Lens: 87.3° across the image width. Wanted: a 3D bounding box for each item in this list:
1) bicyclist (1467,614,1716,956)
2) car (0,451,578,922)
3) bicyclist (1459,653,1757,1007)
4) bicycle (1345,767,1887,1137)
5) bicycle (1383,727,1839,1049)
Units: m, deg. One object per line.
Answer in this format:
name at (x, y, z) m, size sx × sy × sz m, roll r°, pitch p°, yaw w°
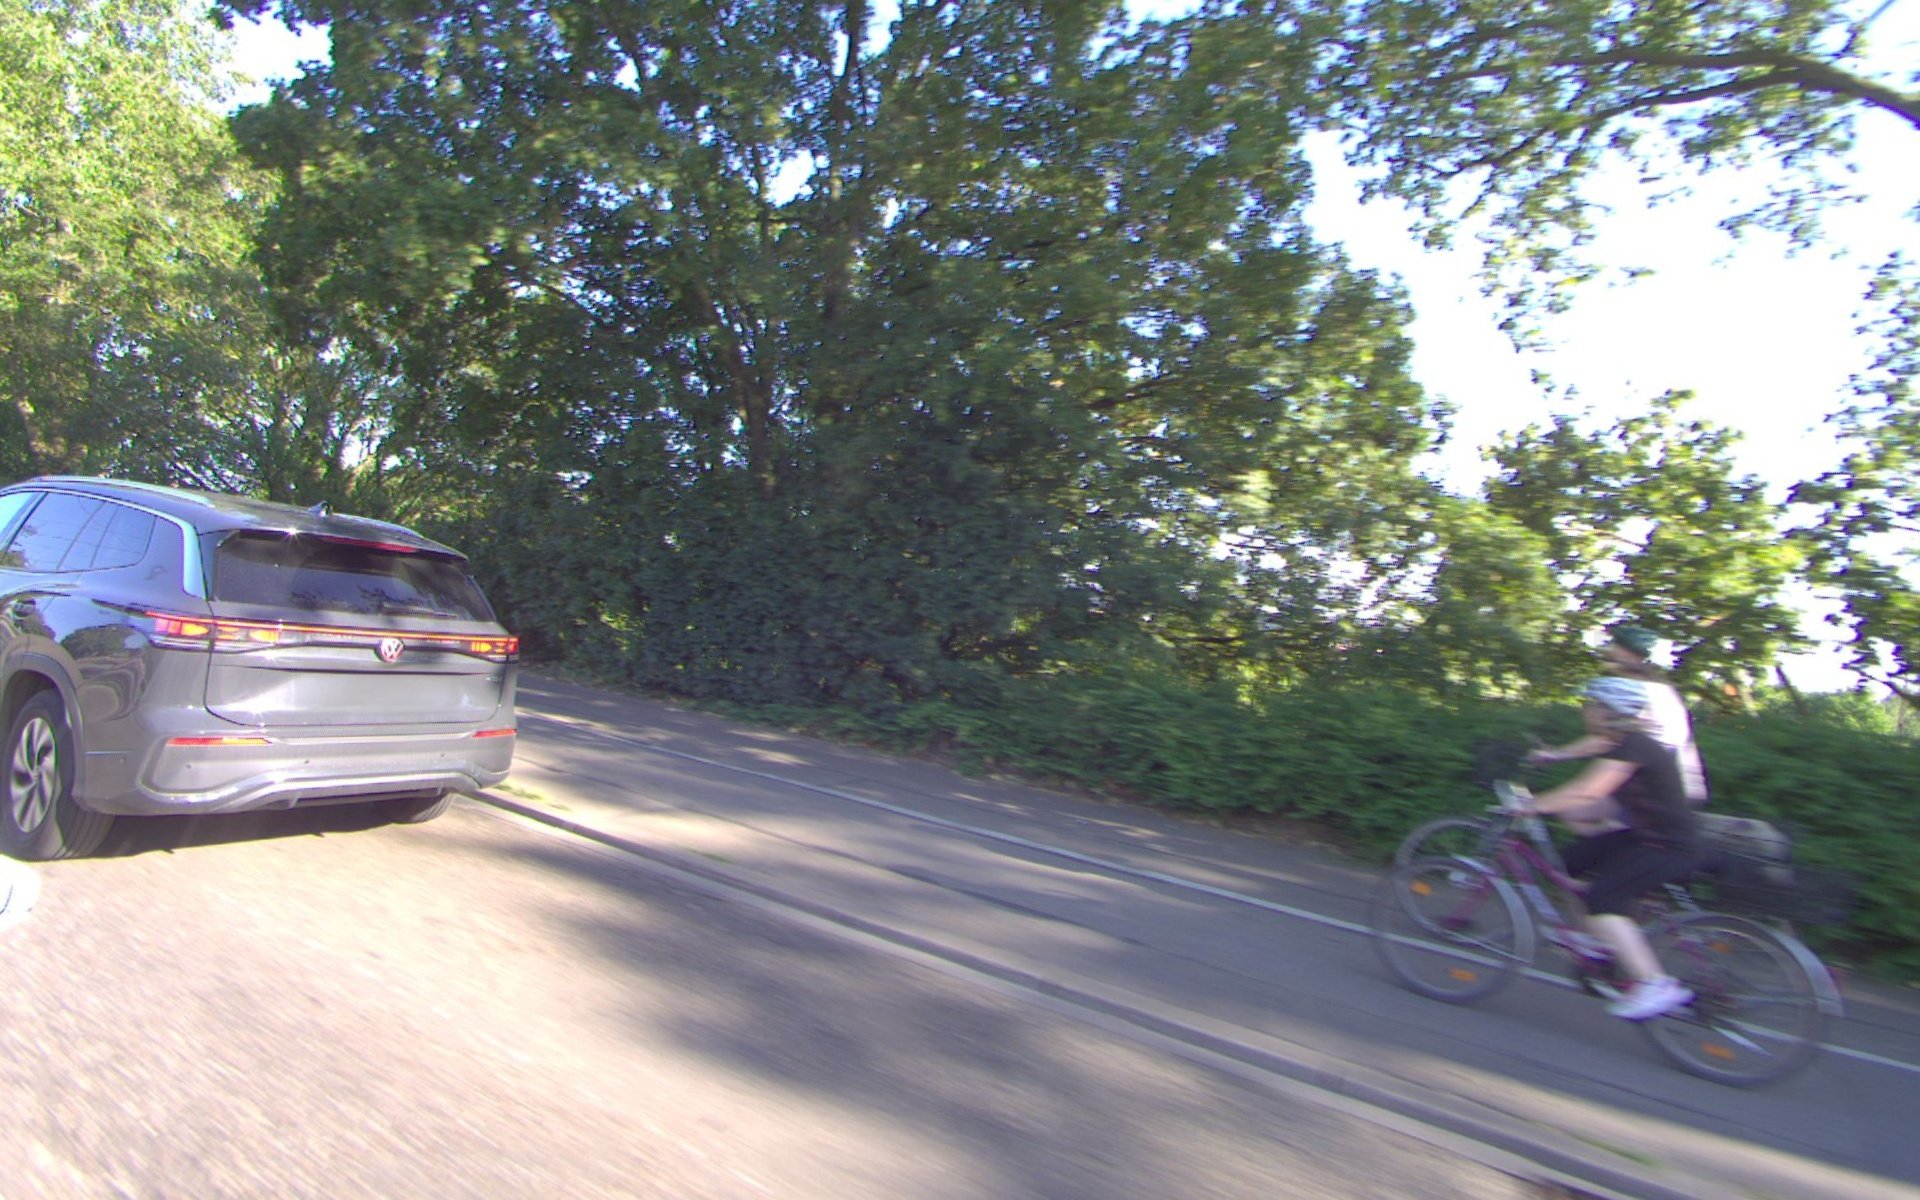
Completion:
bicyclist at (3.253, 0.896, 5.253) m, size 0.876 × 1.528 × 0.686 m, roll 7°, pitch 2°, yaw 31°
car at (-4.405, 0.205, 5.562) m, size 4.365 × 1.680 × 1.848 m, roll 7°, pitch -2°, yaw 31°
bicyclist at (2.729, 0.907, 4.317) m, size 0.876 × 1.241 × 0.641 m, roll 7°, pitch 1°, yaw 31°
bicycle at (2.684, 1.391, 4.335) m, size 1.758 × 0.986 × 0.566 m, roll 6°, pitch 1°, yaw 31°
bicycle at (3.261, 1.383, 5.229) m, size 1.783 × 1.134 × 0.623 m, roll 6°, pitch 1°, yaw 31°
